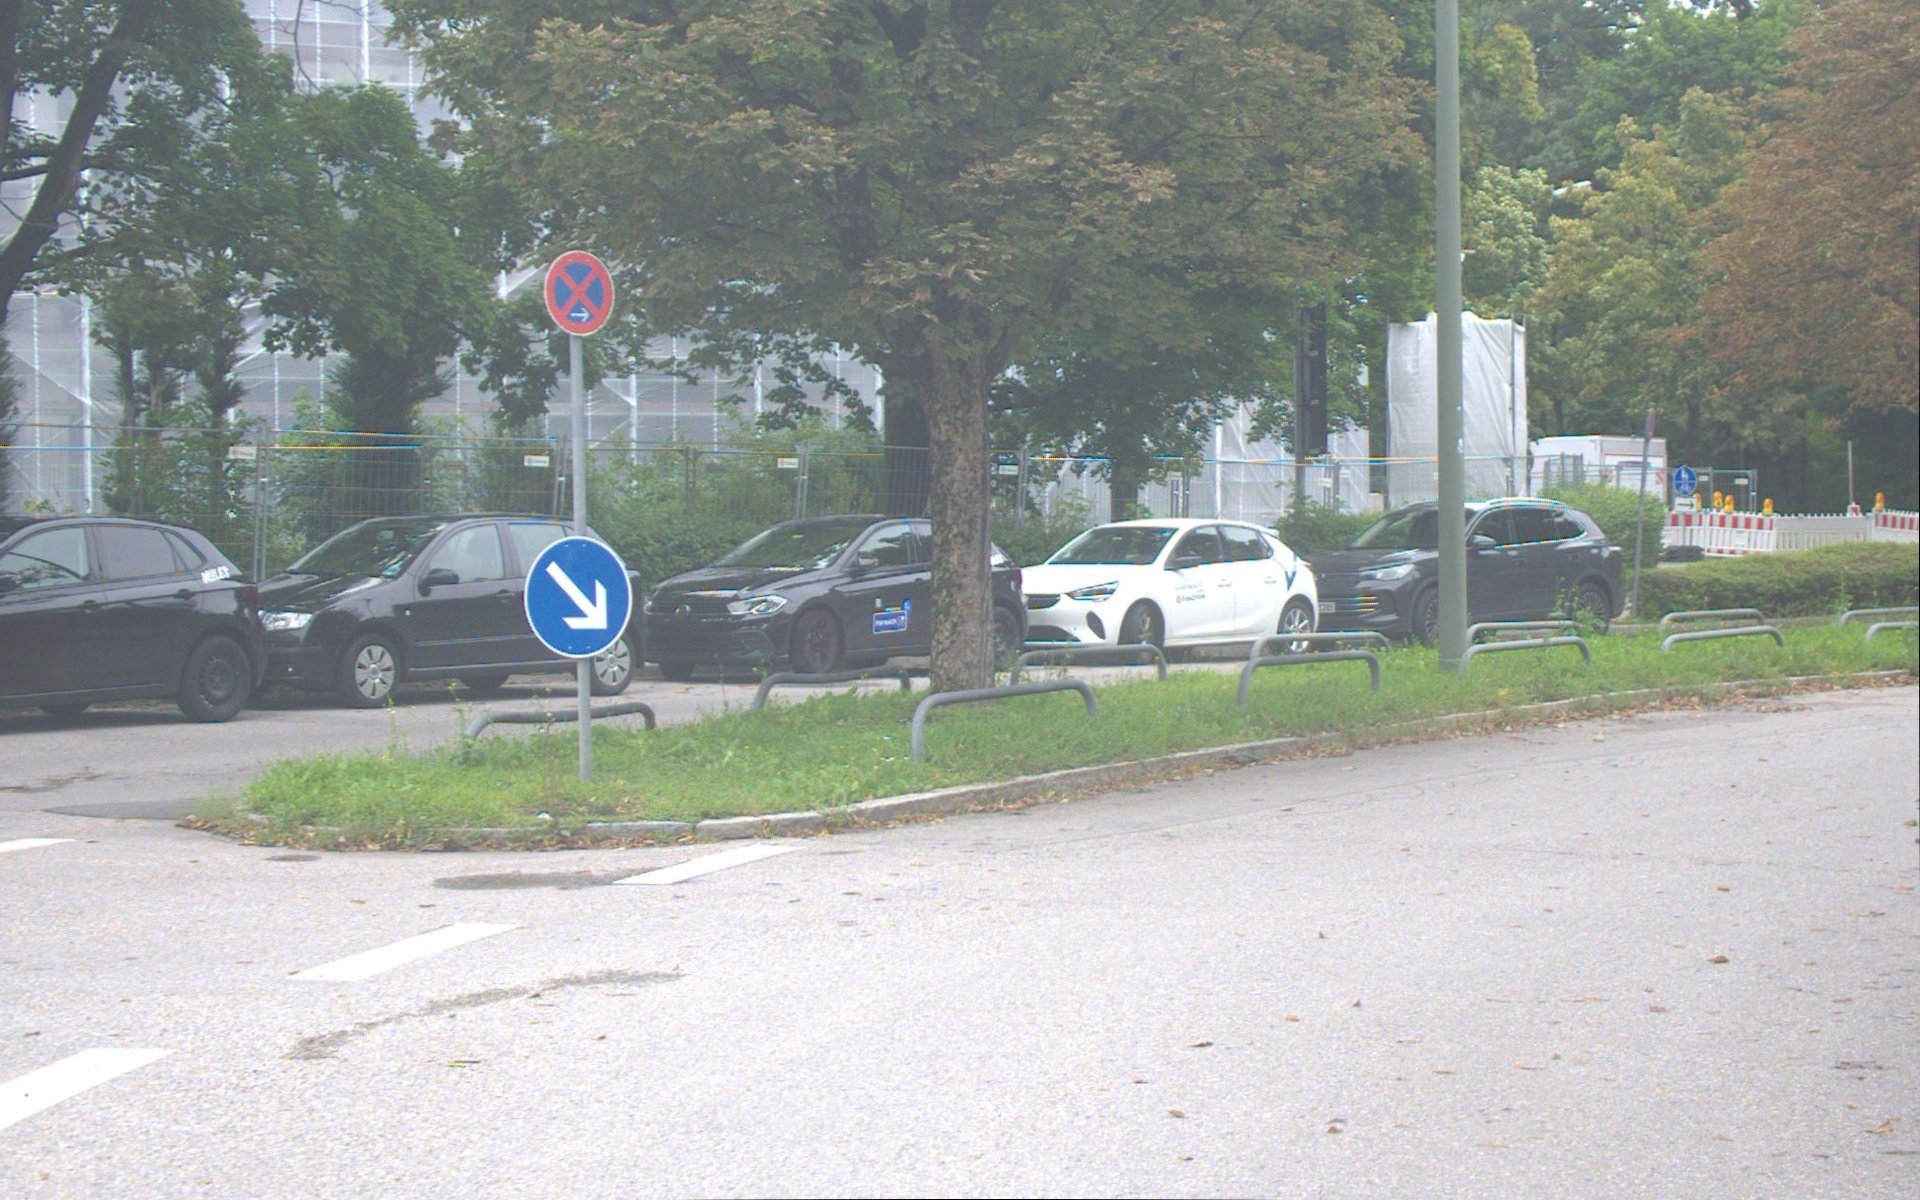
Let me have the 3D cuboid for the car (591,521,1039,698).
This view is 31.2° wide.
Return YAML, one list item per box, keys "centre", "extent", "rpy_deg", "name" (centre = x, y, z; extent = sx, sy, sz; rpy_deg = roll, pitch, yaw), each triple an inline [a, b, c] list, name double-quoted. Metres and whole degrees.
- centre: [-1.223, 0.044, 30.581]
  extent: [1.838, 1.456, 3.997]
  rpy_deg: [0, 1, 37]
  name: "car"

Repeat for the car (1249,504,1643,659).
- centre: [5.363, -0.182, 37.614]
  extent: [4.384, 1.600, 1.891]
  rpy_deg: [0, 0, -42]
  name: "car"

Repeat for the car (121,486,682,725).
- centre: [-4.245, 0.003, 26.613]
  extent: [1.998, 1.700, 3.992]
  rpy_deg: [0, 1, 37]
  name: "car"

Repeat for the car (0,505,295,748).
- centre: [-6.614, 0.161, 22.825]
  extent: [1.998, 1.535, 3.992]
  rpy_deg: [0, 1, 37]
  name: "car"

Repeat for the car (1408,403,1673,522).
- centre: [17.839, -4.190, 106.294]
  extent: [3.084, 3.437, 8.720]
  rpy_deg: [-1, 1, -32]
  name: "car"

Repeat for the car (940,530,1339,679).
- centre: [1.854, 0.011, 34.289]
  extent: [1.800, 1.379, 4.209]
  rpy_deg: [0, 1, 40]
  name: "car"
